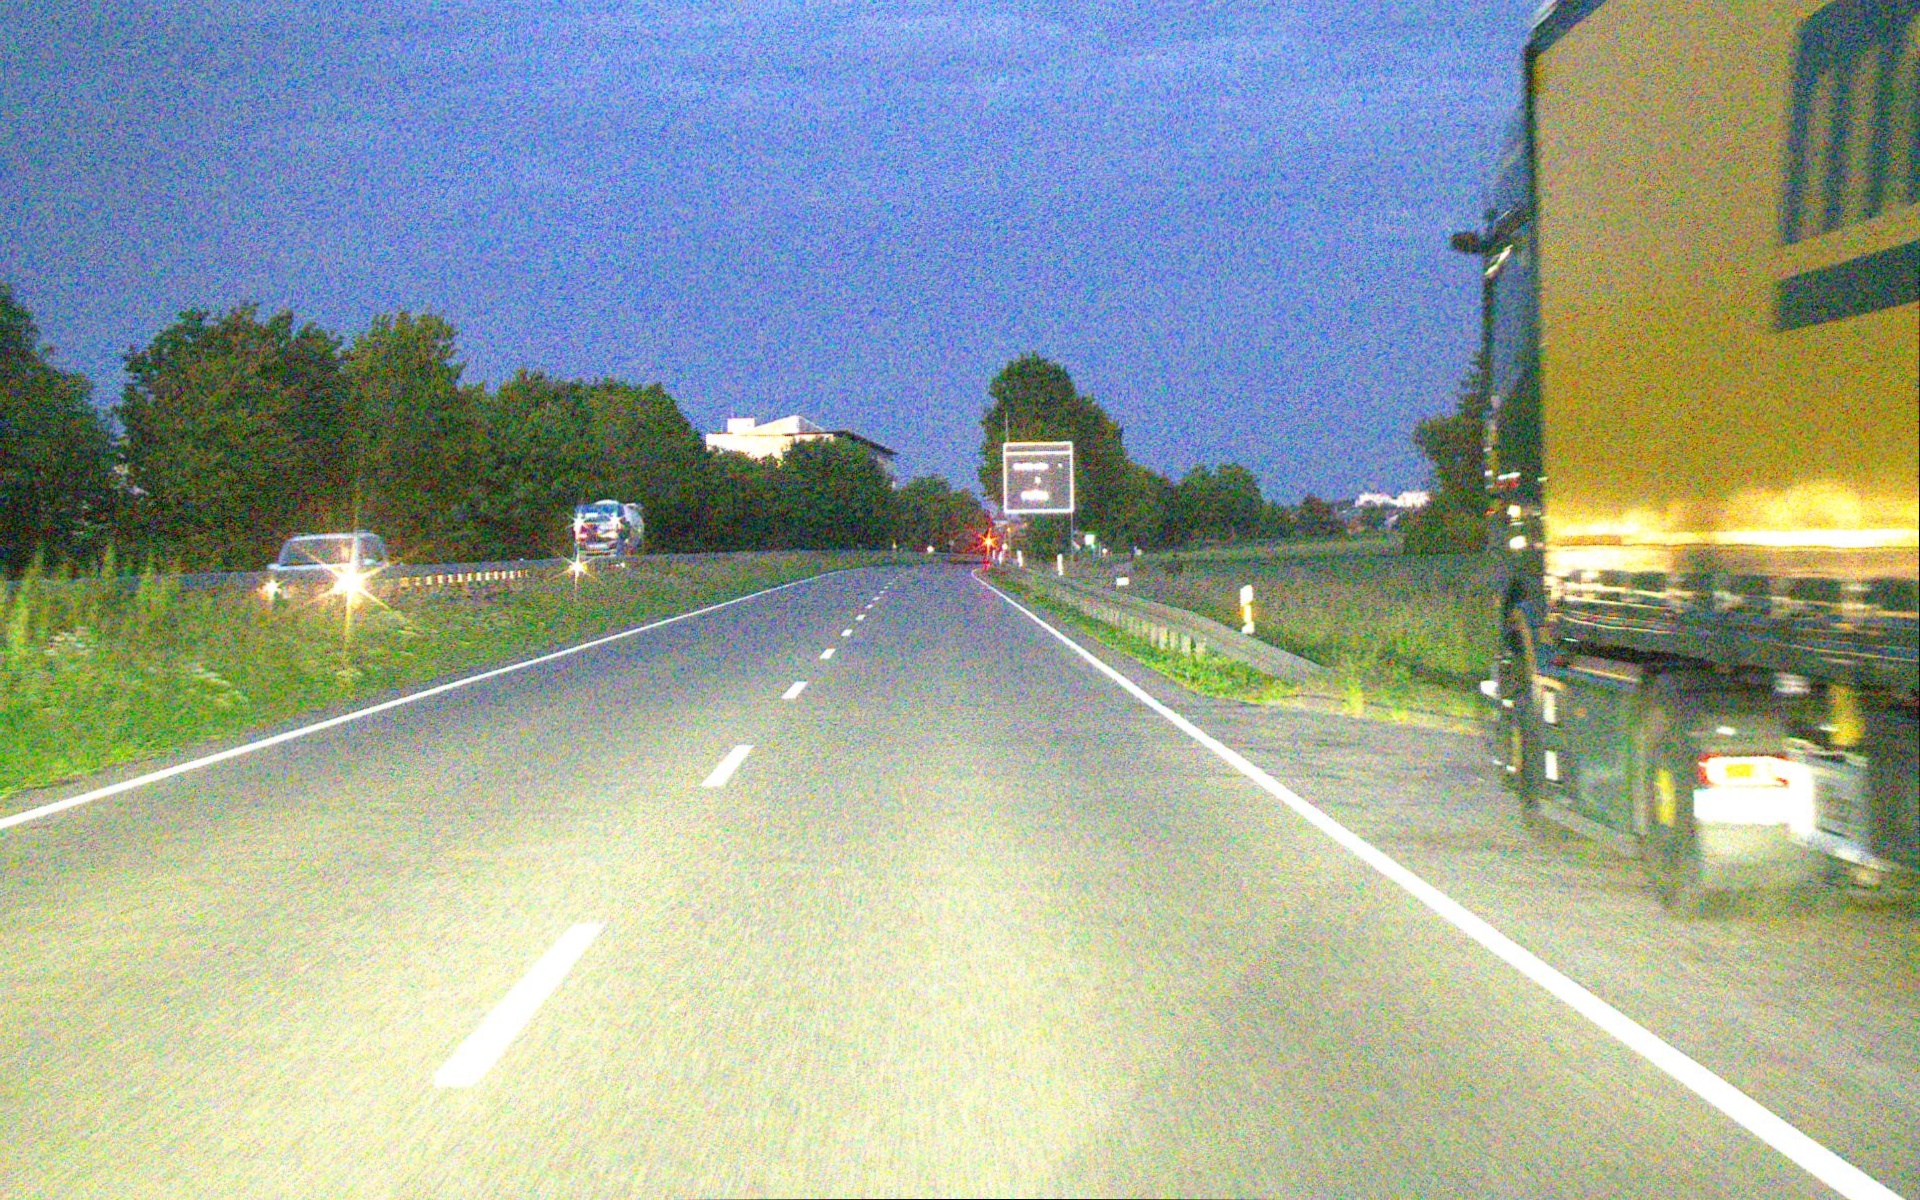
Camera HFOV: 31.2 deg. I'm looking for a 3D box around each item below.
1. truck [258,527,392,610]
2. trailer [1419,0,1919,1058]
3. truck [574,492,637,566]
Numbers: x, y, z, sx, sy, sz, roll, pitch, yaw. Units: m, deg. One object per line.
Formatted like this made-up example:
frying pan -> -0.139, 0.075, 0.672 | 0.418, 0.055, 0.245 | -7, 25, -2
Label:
truck -> -13.261, -0.670, 72.071 | 2.016, 1.647, 4.774 | 1, 1, -1
trailer -> 3.933, -0.842, 12.495 | 2.622, 4.090, 12.938 | -1, 1, -1
truck -> -16.837, -3.352, 163.708 | 2.219, 3.433, 6.715 | 1, 1, 0
